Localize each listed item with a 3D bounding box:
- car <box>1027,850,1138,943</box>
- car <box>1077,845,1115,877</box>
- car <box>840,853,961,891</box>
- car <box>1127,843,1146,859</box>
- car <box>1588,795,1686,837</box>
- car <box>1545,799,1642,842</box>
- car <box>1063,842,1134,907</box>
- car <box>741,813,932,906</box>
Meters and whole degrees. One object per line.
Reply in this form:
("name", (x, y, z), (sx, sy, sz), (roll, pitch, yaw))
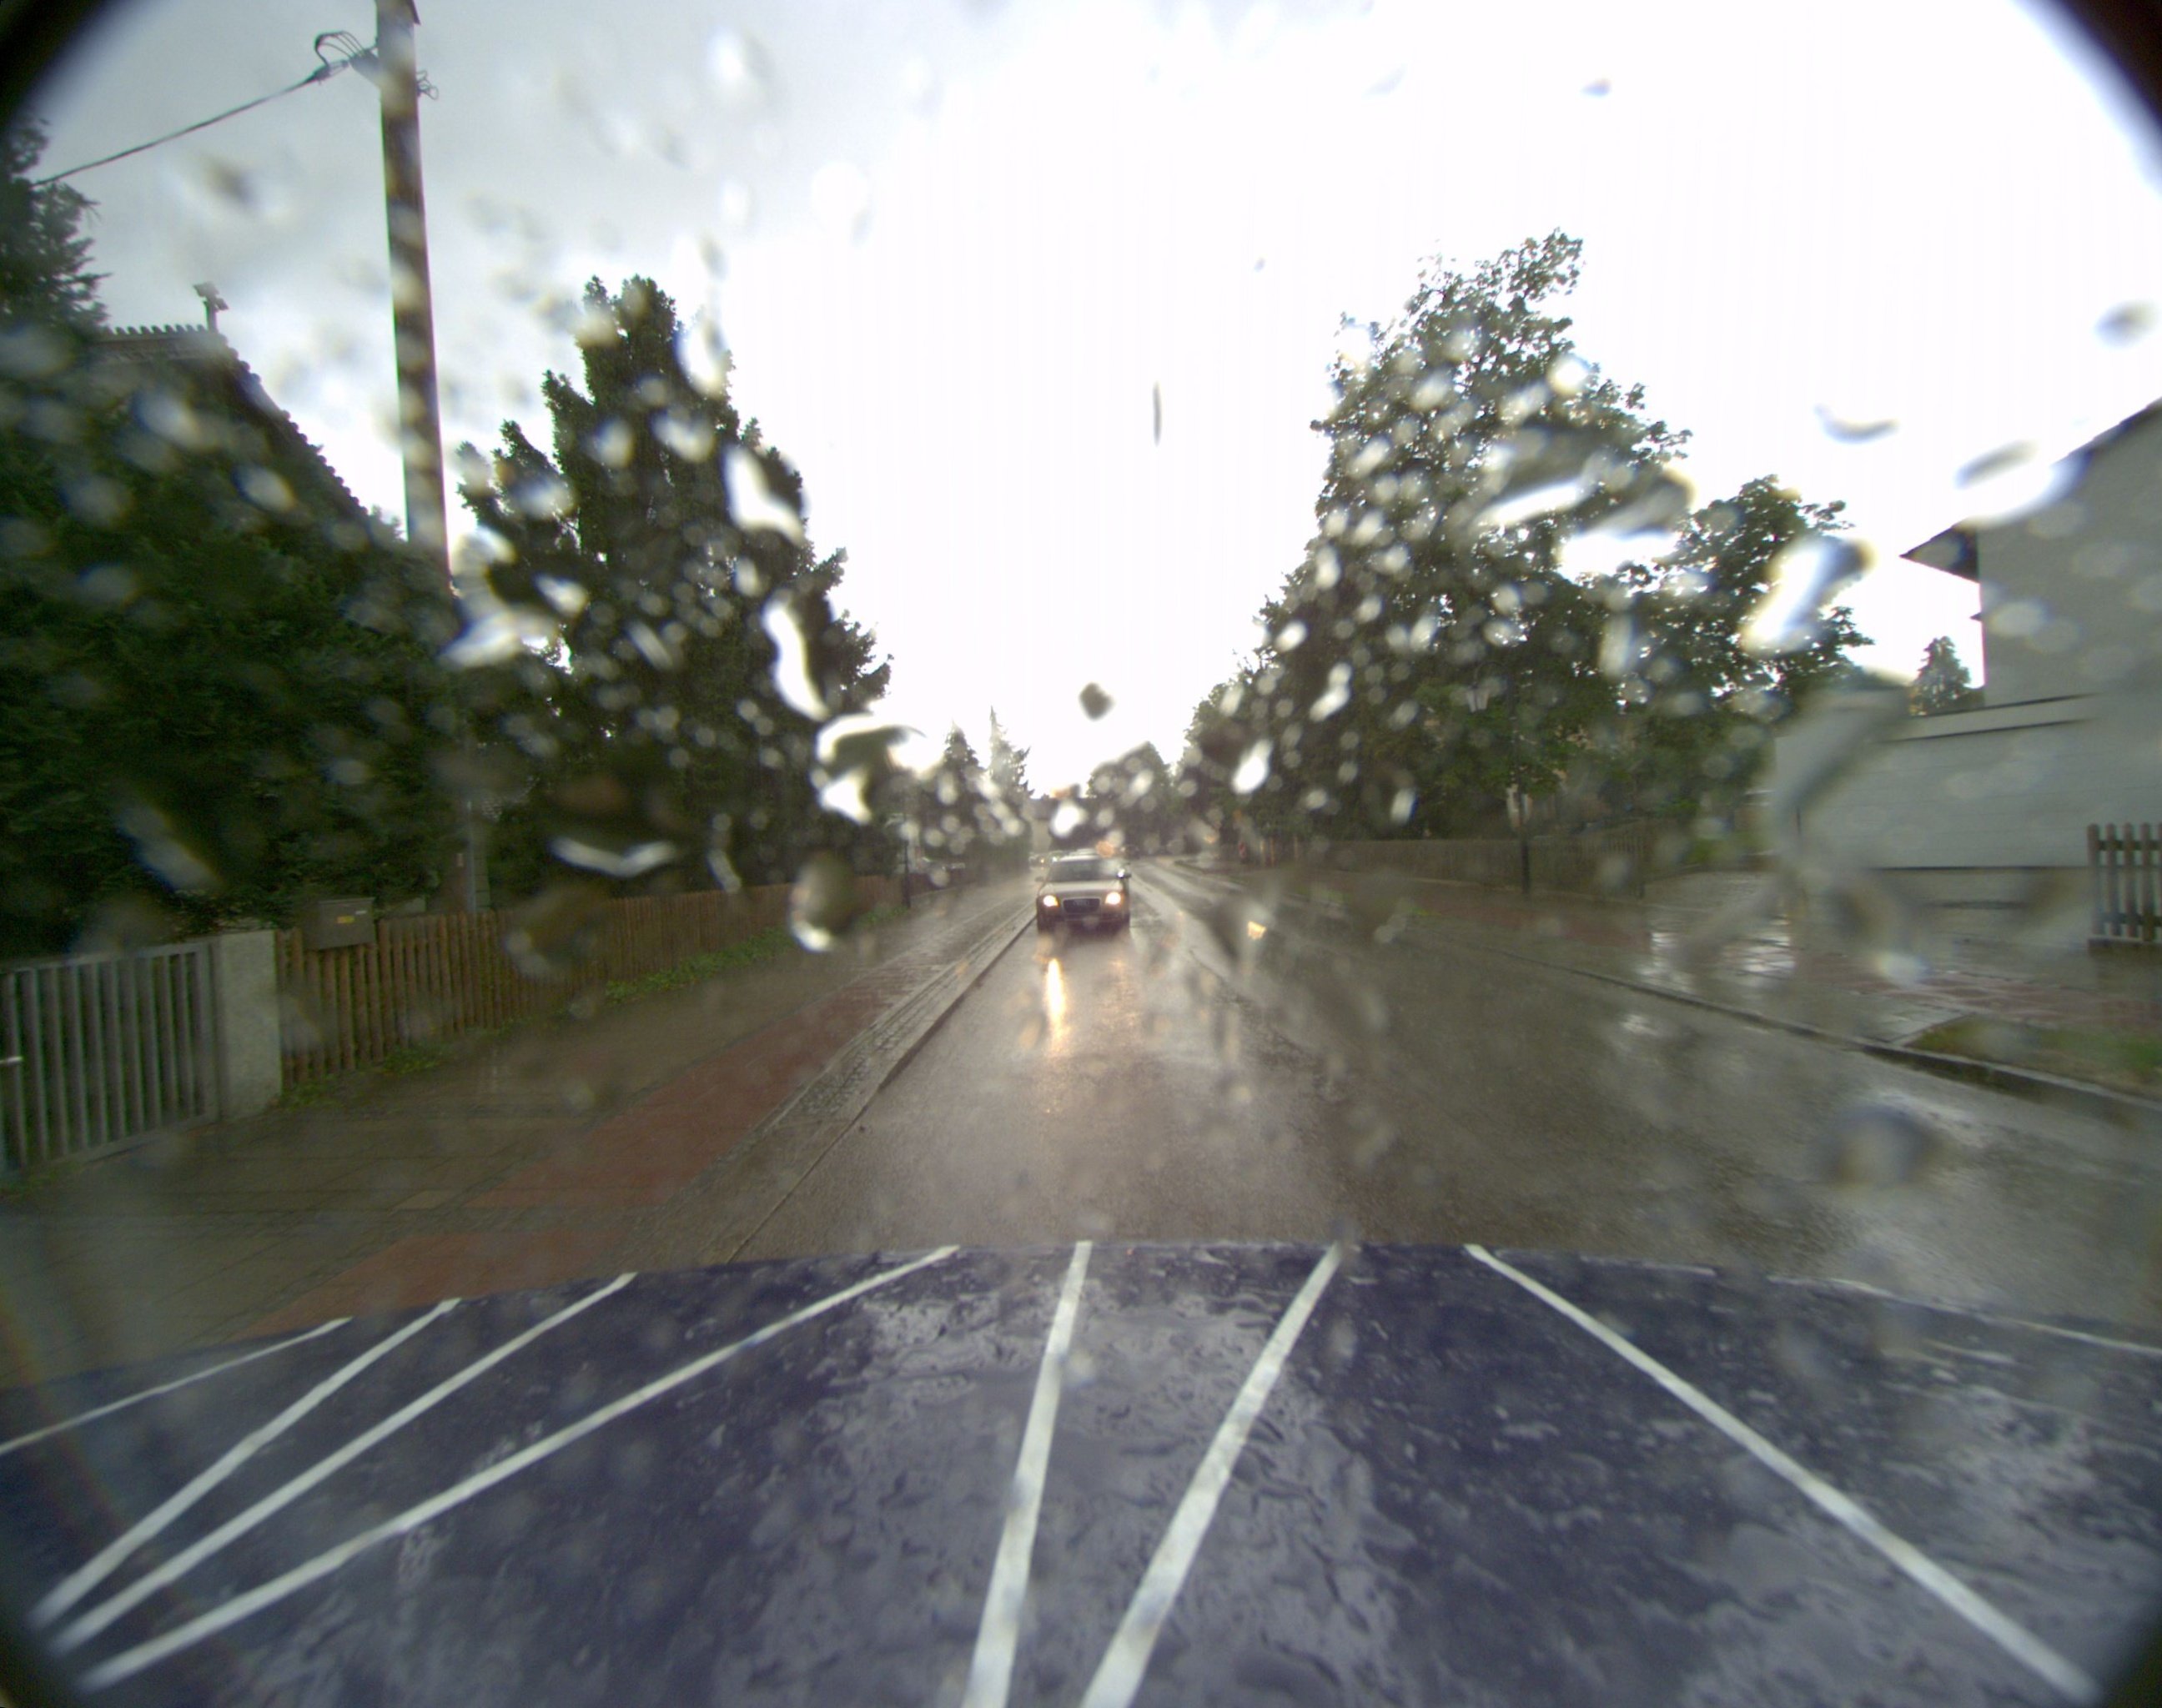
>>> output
("car", (0.070, 0.730, 15.360), (1.872, 1.512, 4.188), (-3, 1, 1))
("car", (0.842, 0.362, 42.813), (1.872, 1.512, 4.960), (-4, 1, 1))
("car", (-7.073, 0.690, 30.160), (4.443, 1.413, 1.829), (0, 1, -6))
("car", (5.756, -0.318, 79.500), (1.642, 1.512, 4.188), (-3, 0, 1))
("car", (29.345, -1.964, 40.165), (1.845, 1.792, 3.649), (-6, 0, -33))
("car", (26.495, -1.702, 39.370), (1.845, 1.792, 3.649), (-6, 0, -33))
("car", (0.532, 0.537, 23.634), (1.872, 1.603, 4.960), (-4, 2, 1))
("car", (-7.377, 0.141, 23.468), (5.320, 2.712, 1.998), (0, 1, -8))
